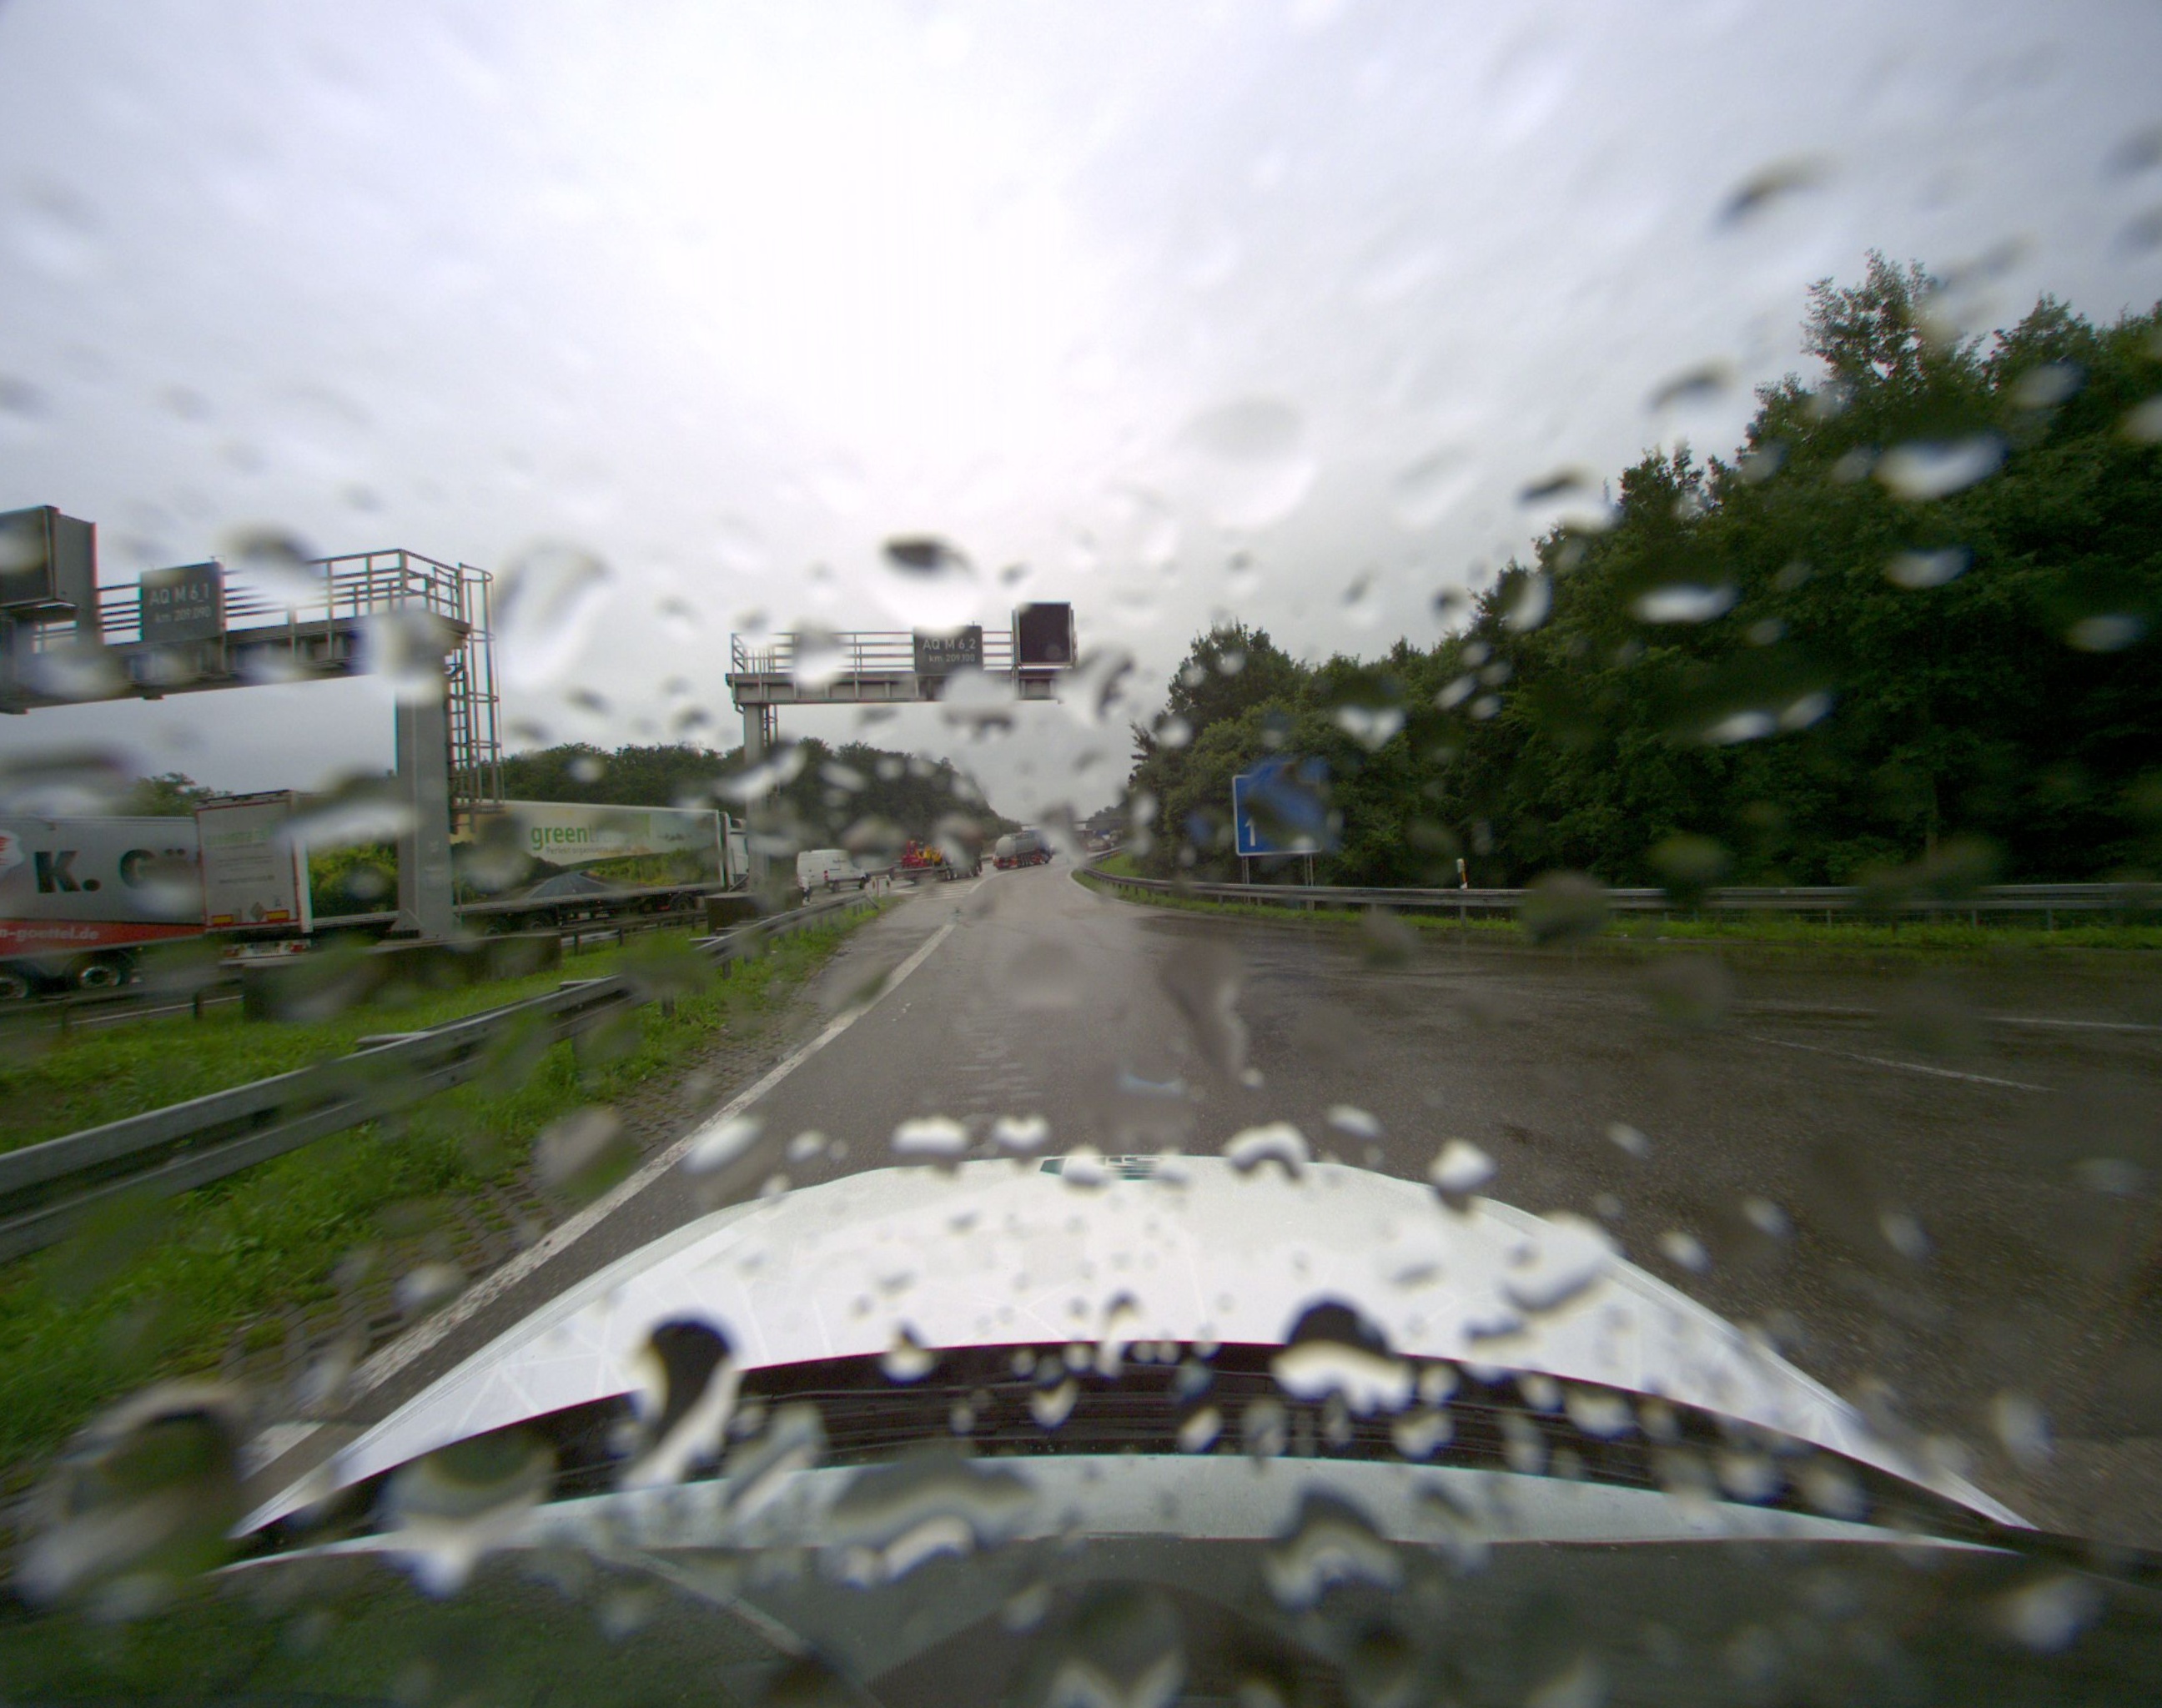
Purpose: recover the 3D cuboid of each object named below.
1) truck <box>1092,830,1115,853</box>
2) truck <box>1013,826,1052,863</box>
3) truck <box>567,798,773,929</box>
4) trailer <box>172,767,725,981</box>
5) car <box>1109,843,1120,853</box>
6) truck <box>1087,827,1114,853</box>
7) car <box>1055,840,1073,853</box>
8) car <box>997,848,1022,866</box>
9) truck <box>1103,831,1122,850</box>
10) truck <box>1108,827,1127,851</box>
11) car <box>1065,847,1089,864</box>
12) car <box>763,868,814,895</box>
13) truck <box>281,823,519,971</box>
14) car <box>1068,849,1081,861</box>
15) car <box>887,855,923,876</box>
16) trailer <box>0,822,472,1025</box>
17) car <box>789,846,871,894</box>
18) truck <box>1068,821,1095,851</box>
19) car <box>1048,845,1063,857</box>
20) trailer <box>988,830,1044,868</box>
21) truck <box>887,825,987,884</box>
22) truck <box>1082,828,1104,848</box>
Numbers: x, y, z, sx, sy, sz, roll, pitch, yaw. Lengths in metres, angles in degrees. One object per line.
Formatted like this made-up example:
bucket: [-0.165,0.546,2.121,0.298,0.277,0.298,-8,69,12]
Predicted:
truck: [4.492,-2.413,159.788,3.489,4.268,10.621,-1,0,6]
truck: [-5.135,-1.046,87.023,2.859,3.693,5.071,-4,1,10]
truck: [-14.667,0.289,29.810,2.899,4.099,6.741,-4,0,12]
trailer: [-15.969,0.356,23.365,2.899,4.205,13.681,-4,0,12]
car: [6.930,-1.288,168.664,1.789,1.903,4.007,-4,0,6]
truck: [3.513,-2.505,143.850,3.582,4.104,11.578,-4,1,5]
car: [-4.135,-1.842,199.936,3.229,3.002,6.786,-1,0,7]
car: [-7.887,0.280,90.541,1.809,1.766,4.009,-3,1,8]
truck: [7.083,-2.917,182.394,3.737,3.970,11.073,-1,0,5]
truck: [9.337,-3.648,205.276,4.316,5.763,9.744,-1,0,5]
car: [-0.407,0.156,85.448,1.983,1.636,4.007,-1,0,7]
car: [-22.246,2.072,62.132,1.765,1.705,4.012,-4,0,11]
truck: [-20.168,1.145,24.478,2.610,3.863,4.604,-4,0,11]
car: [-1.039,0.130,135.160,1.788,1.904,4.007,-1,0,6]
car: [-15.255,0.988,70.746,1.775,1.727,4.009,-1,0,8]
trailer: [-21.413,1.351,18.397,2.609,3.863,13.722,-4,0,12]
car: [-15.445,0.910,50.480,2.201,2.629,5.861,-4,0,10]
truck: [0.183,-3.328,155.818,3.734,5.499,10.193,-1,0,7]
car: [-4.430,-0.556,142.205,1.788,1.903,4.008,-4,0,7]
trailer: [-6.286,-0.619,80.338,2.856,3.288,10.107,-4,1,10]
truck: [-9.863,-0.086,57.846,2.813,3.588,11.832,-5,0,10]
truck: [2.873,-3.697,190.502,3.557,4.095,10.901,-4,-1,7]
